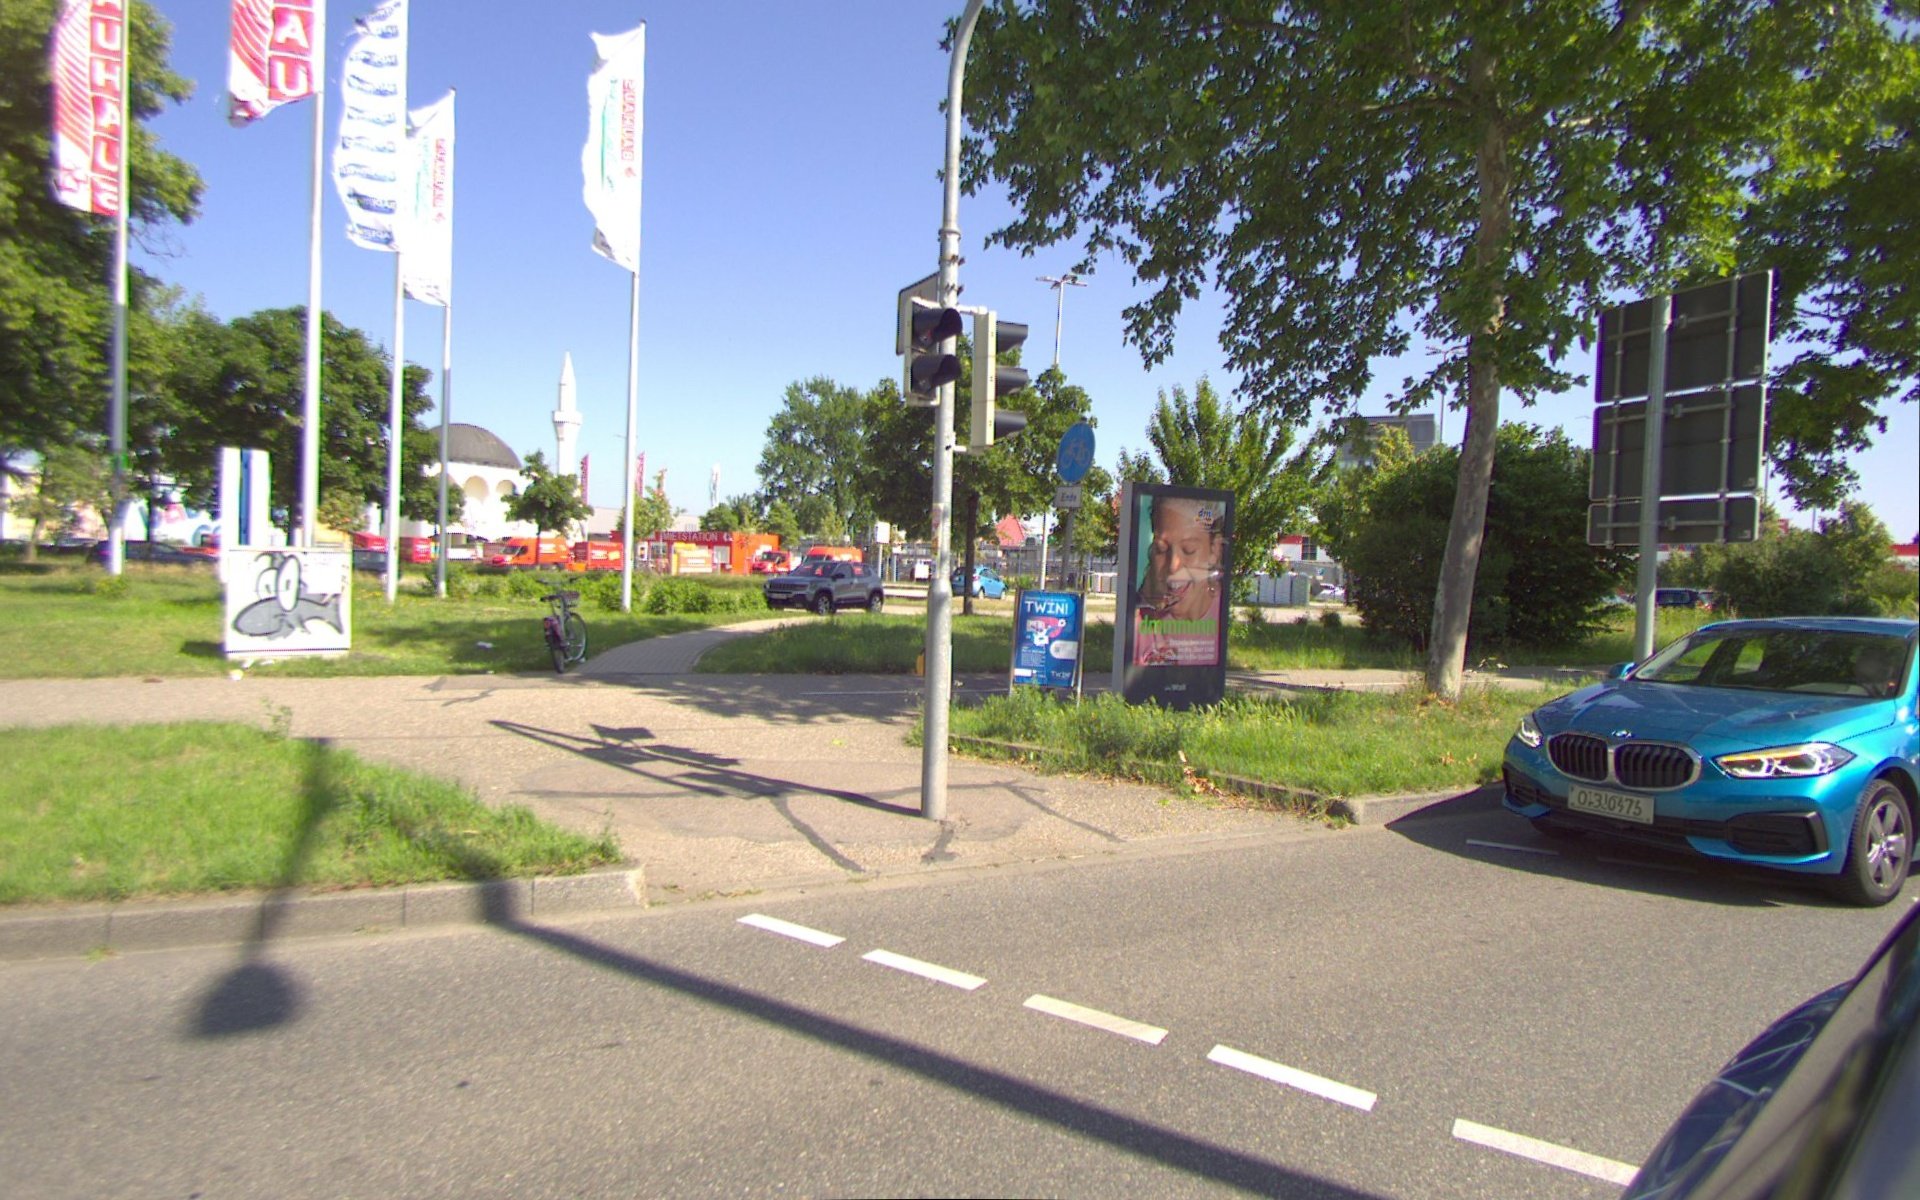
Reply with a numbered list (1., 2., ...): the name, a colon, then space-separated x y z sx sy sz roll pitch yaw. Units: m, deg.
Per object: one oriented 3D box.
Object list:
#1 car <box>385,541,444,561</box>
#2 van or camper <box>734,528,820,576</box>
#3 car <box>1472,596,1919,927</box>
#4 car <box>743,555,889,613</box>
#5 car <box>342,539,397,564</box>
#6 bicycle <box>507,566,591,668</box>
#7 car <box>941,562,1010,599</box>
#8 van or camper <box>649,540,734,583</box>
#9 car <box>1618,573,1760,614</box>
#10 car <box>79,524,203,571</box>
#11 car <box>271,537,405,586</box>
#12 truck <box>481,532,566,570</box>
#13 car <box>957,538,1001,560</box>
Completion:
1. car: -56.434 -5.074 104.838 1.987 1.777 5.080 0 0 35
2. van or camper: -12.773 -3.282 71.268 1.981 2.979 7.217 0 0 27
3. car: 5.360 0.730 6.315 4.046 1.438 1.876 0 1 -28
4. car: -3.786 -0.383 27.309 1.890 1.438 3.957 0 0 30
5. car: -53.623 -4.407 91.999 1.976 2.039 3.972 0 0 21
6. bicycle: -5.039 0.159 12.504 0.486 1.153 1.912 0 2 -8
7. car: 0.714 -0.806 43.738 1.530 1.552 3.450 0 0 30
8. van or camper: -20.263 -2.858 76.825 1.981 2.979 7.217 0 0 27
9. car: 28.022 -0.231 39.037 1.958 1.501 4.007 0 0 -23
10. car: -36.294 -2.267 44.907 1.988 1.861 3.946 -1 0 37
11. car: -23.763 -1.436 38.760 1.988 1.705 3.946 0 0 37
12. truck: -31.795 -3.543 73.894 1.982 2.443 5.724 0 0 28
13. car: 1.566 -4.068 81.344 1.772 1.549 4.348 0 0 28
